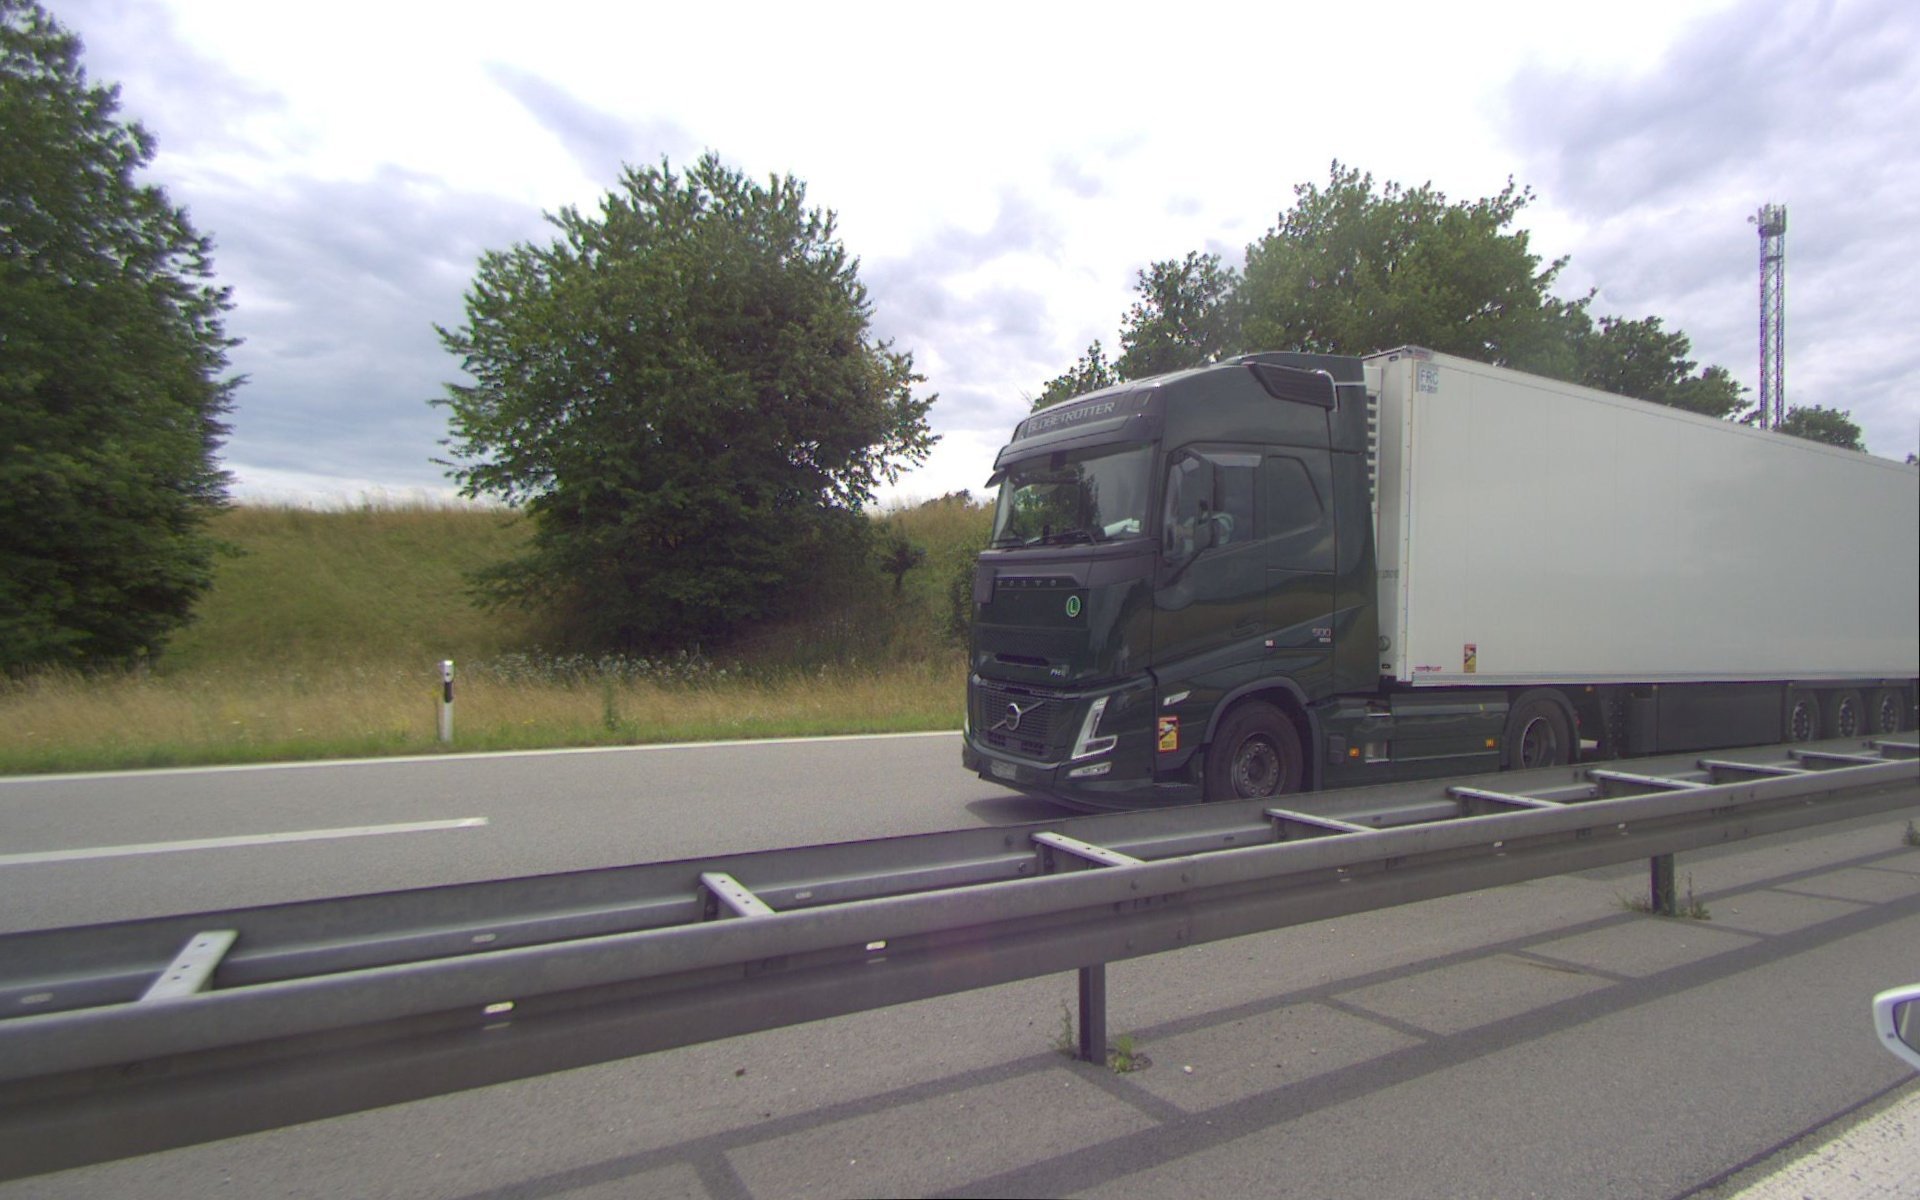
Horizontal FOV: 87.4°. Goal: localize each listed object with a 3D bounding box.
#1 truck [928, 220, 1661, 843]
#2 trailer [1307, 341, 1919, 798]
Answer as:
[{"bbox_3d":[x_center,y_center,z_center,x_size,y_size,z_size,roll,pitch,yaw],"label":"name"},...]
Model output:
[{"bbox_3d":[3.413,-0.355,9.666,6.901,4.225,2.628,2,0,-29],"label":"truck"},{"bbox_3d":[9.947,-0.077,13.379,12.041,4.225,2.628,2,0,-29],"label":"trailer"}]
